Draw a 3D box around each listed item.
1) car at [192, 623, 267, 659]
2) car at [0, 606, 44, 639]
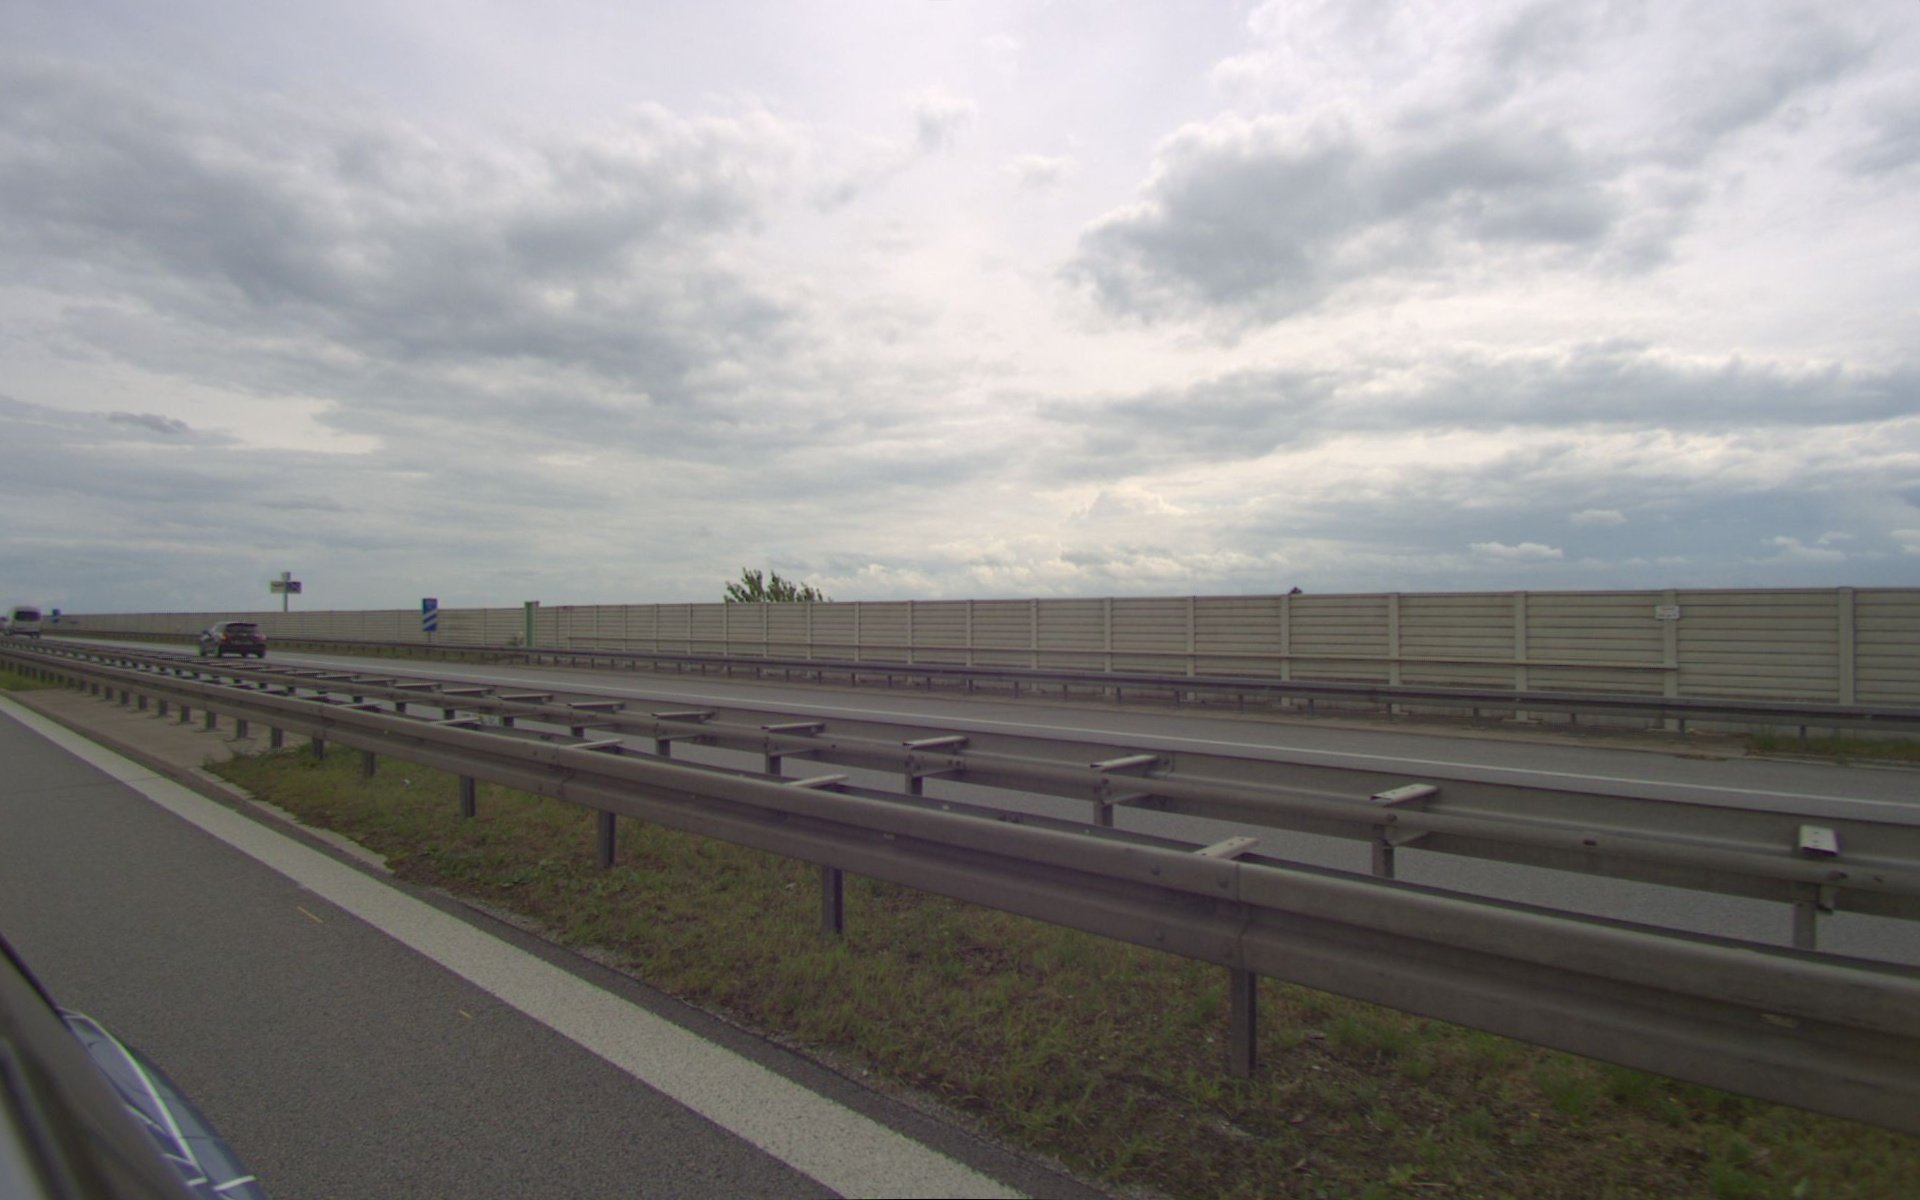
[{"bbox_3d":[-30.542,1.692,42.266,3.998,1.397,1.653,-1,-3,41],"label":"car"},{"bbox_3d":[-78.683,1.870,84.754,6.286,2.623,2.049,-1,-4,41],"label":"car"}]
